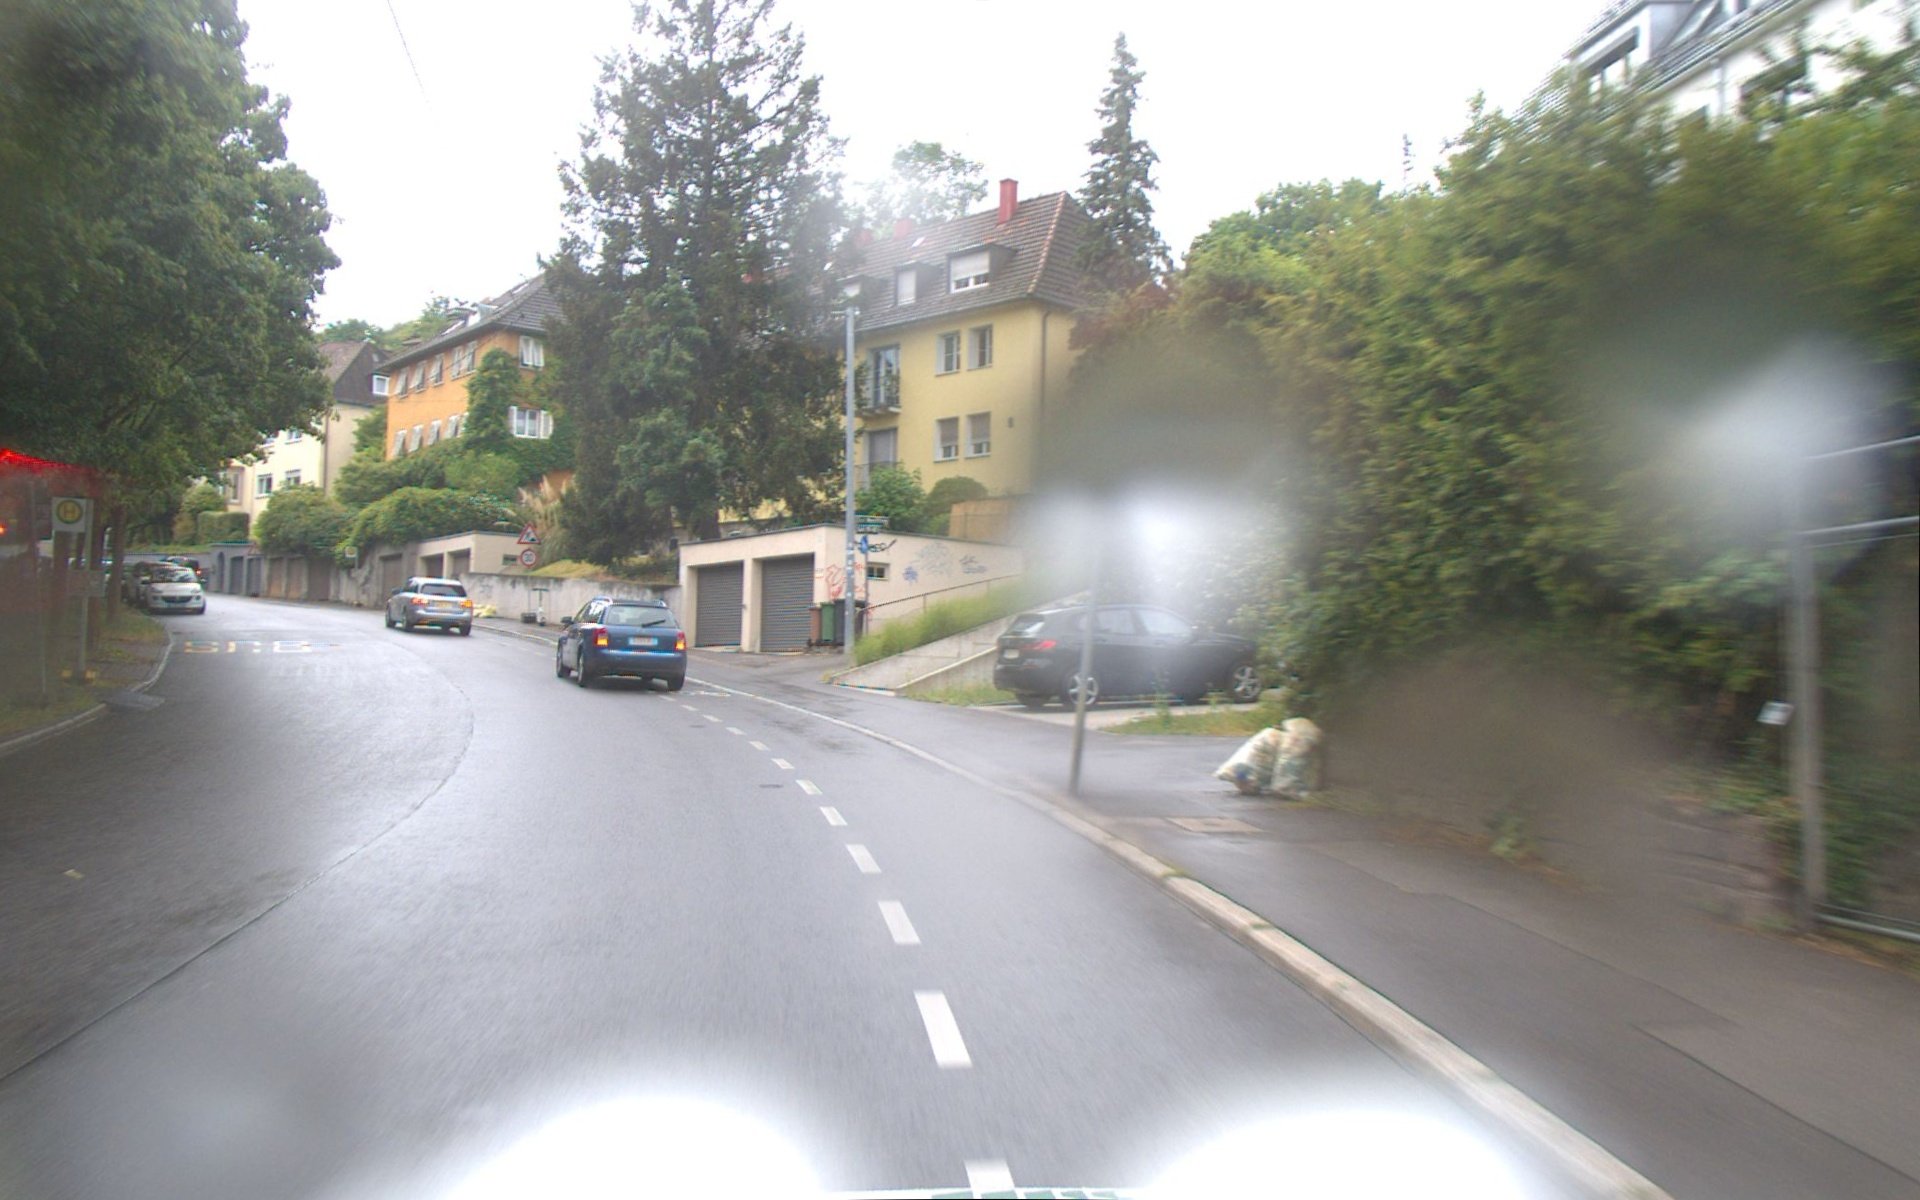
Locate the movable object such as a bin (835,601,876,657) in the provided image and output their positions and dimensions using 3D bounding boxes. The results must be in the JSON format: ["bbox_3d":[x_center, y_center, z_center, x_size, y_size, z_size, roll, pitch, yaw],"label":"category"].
[{"bbox_3d":[-2.328,0.640,36.823,0.698,1.245,0.572,1,0,-40],"label":"movable object such as a bin"}]

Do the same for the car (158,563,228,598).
[{"bbox_3d":[-40.201,-1.048,86.709,3.931,1.713,1.987,2,0,43],"label":"car"}]

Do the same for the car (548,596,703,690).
[{"bbox_3d":[-5.824,0.680,28.381,1.828,1.438,4.331,0,0,-22],"label":"car"}]

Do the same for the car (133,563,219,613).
[{"bbox_3d":[-25.942,-0.415,54.674,1.976,1.556,3.952,1,0,-34],"label":"car"}]

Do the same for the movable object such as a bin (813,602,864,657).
[{"bbox_3d":[-2.750,0.661,37.344,0.854,1.206,0.776,1,0,-40],"label":"movable object such as a bin"}]

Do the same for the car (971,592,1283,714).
[{"bbox_3d":[2.386,0.706,23.697,4.109,1.534,1.730,-2,1,-21],"label":"car"}]

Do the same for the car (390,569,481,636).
[{"bbox_3d":[-14.723,0.038,46.274,1.924,1.588,4.233,3,2,-24],"label":"car"}]

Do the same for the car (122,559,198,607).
[{"bbox_3d":[-28.455,-0.614,58.806,1.862,1.624,3.952,1,0,-34],"label":"car"}]

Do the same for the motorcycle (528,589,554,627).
[{"bbox_3d":[-13.316,0.247,52.577,0.541,1.151,1.429,1,0,-24],"label":"motorcycle"}]

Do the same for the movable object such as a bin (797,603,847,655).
[{"bbox_3d":[-3.175,0.658,38.021,0.854,1.162,0.788,1,0,-40],"label":"movable object such as a bin"}]
